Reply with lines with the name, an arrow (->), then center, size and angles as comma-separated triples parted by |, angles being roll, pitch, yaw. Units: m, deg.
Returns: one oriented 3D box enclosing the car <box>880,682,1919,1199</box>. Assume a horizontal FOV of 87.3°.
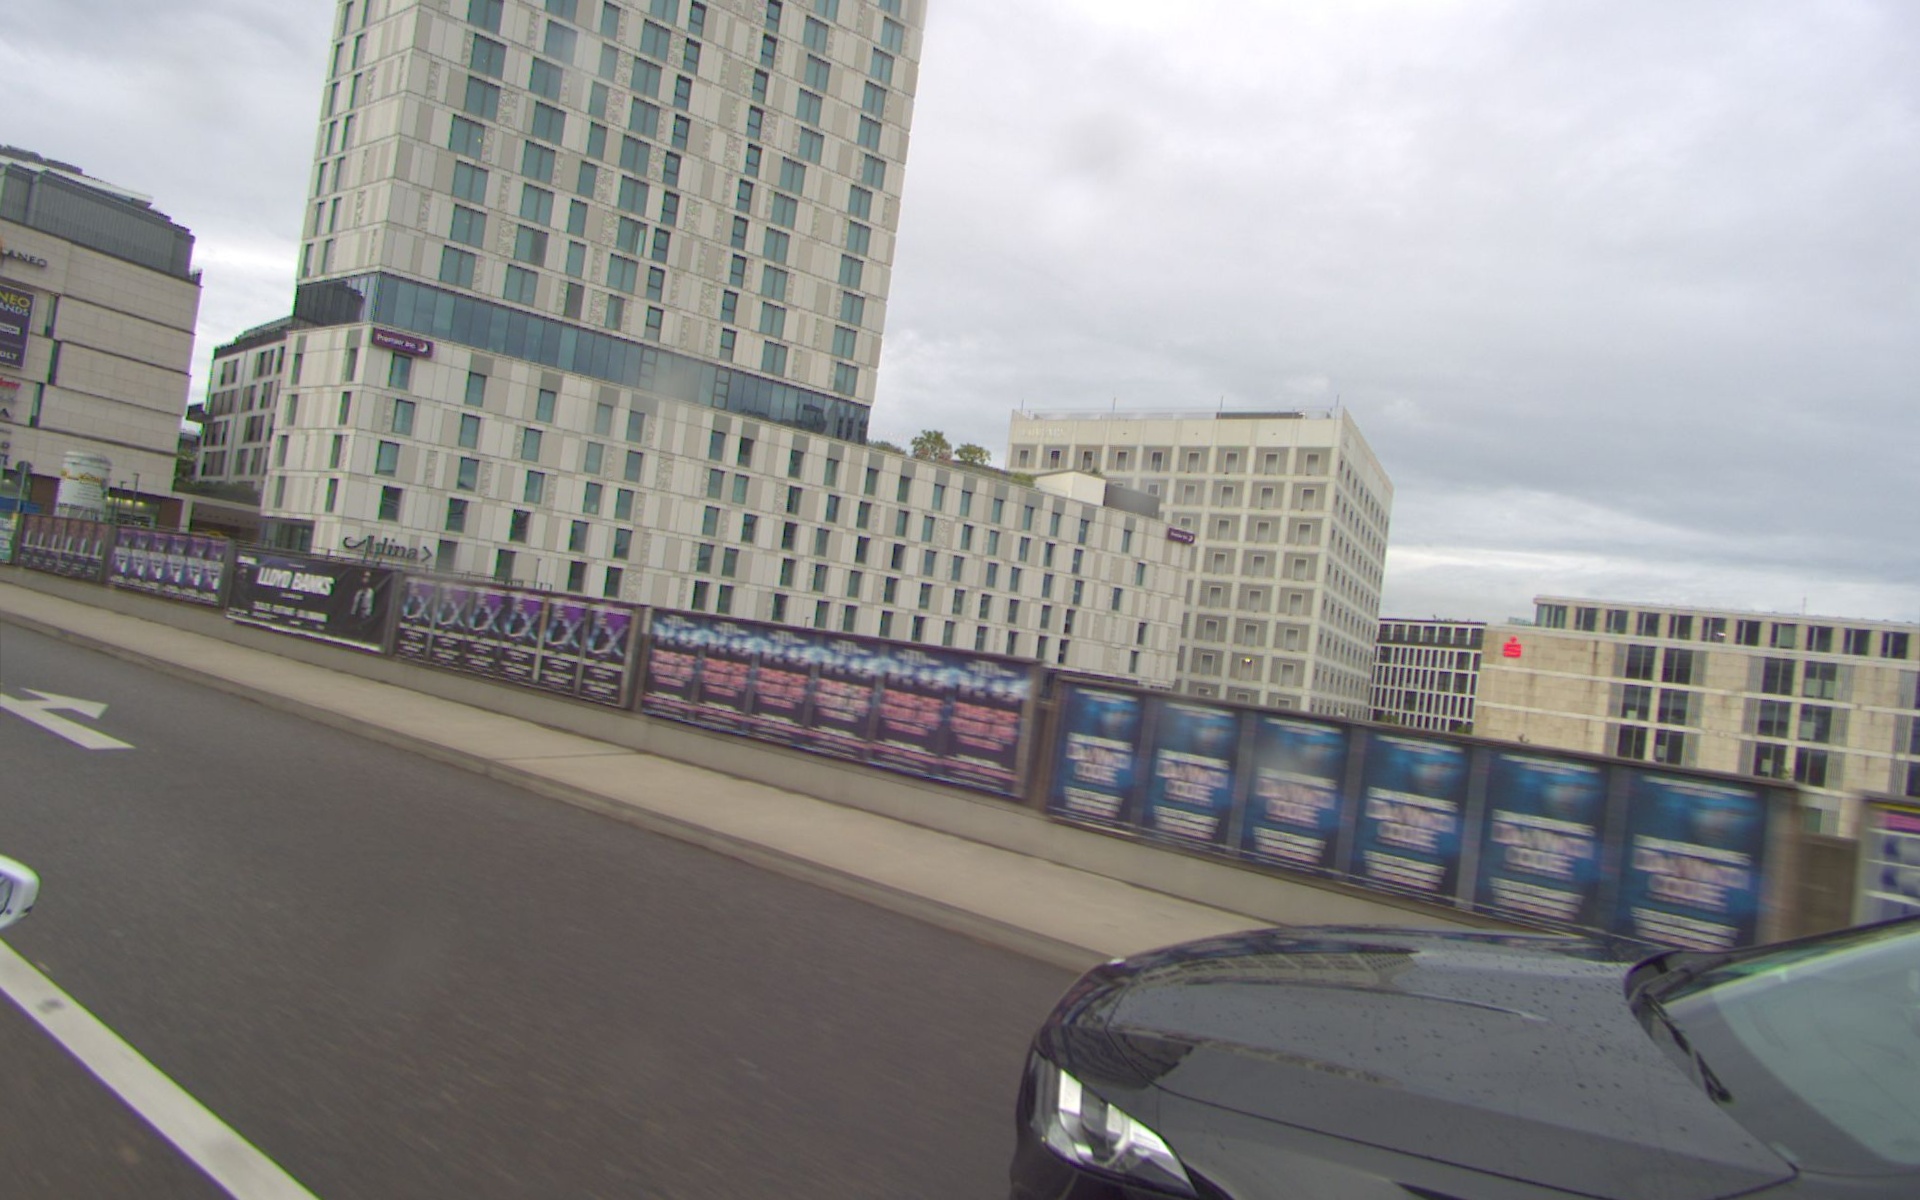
car -> 2.049, 1.103, 1.449 | 4.086, 1.392, 1.726 | 6, -2, 32
